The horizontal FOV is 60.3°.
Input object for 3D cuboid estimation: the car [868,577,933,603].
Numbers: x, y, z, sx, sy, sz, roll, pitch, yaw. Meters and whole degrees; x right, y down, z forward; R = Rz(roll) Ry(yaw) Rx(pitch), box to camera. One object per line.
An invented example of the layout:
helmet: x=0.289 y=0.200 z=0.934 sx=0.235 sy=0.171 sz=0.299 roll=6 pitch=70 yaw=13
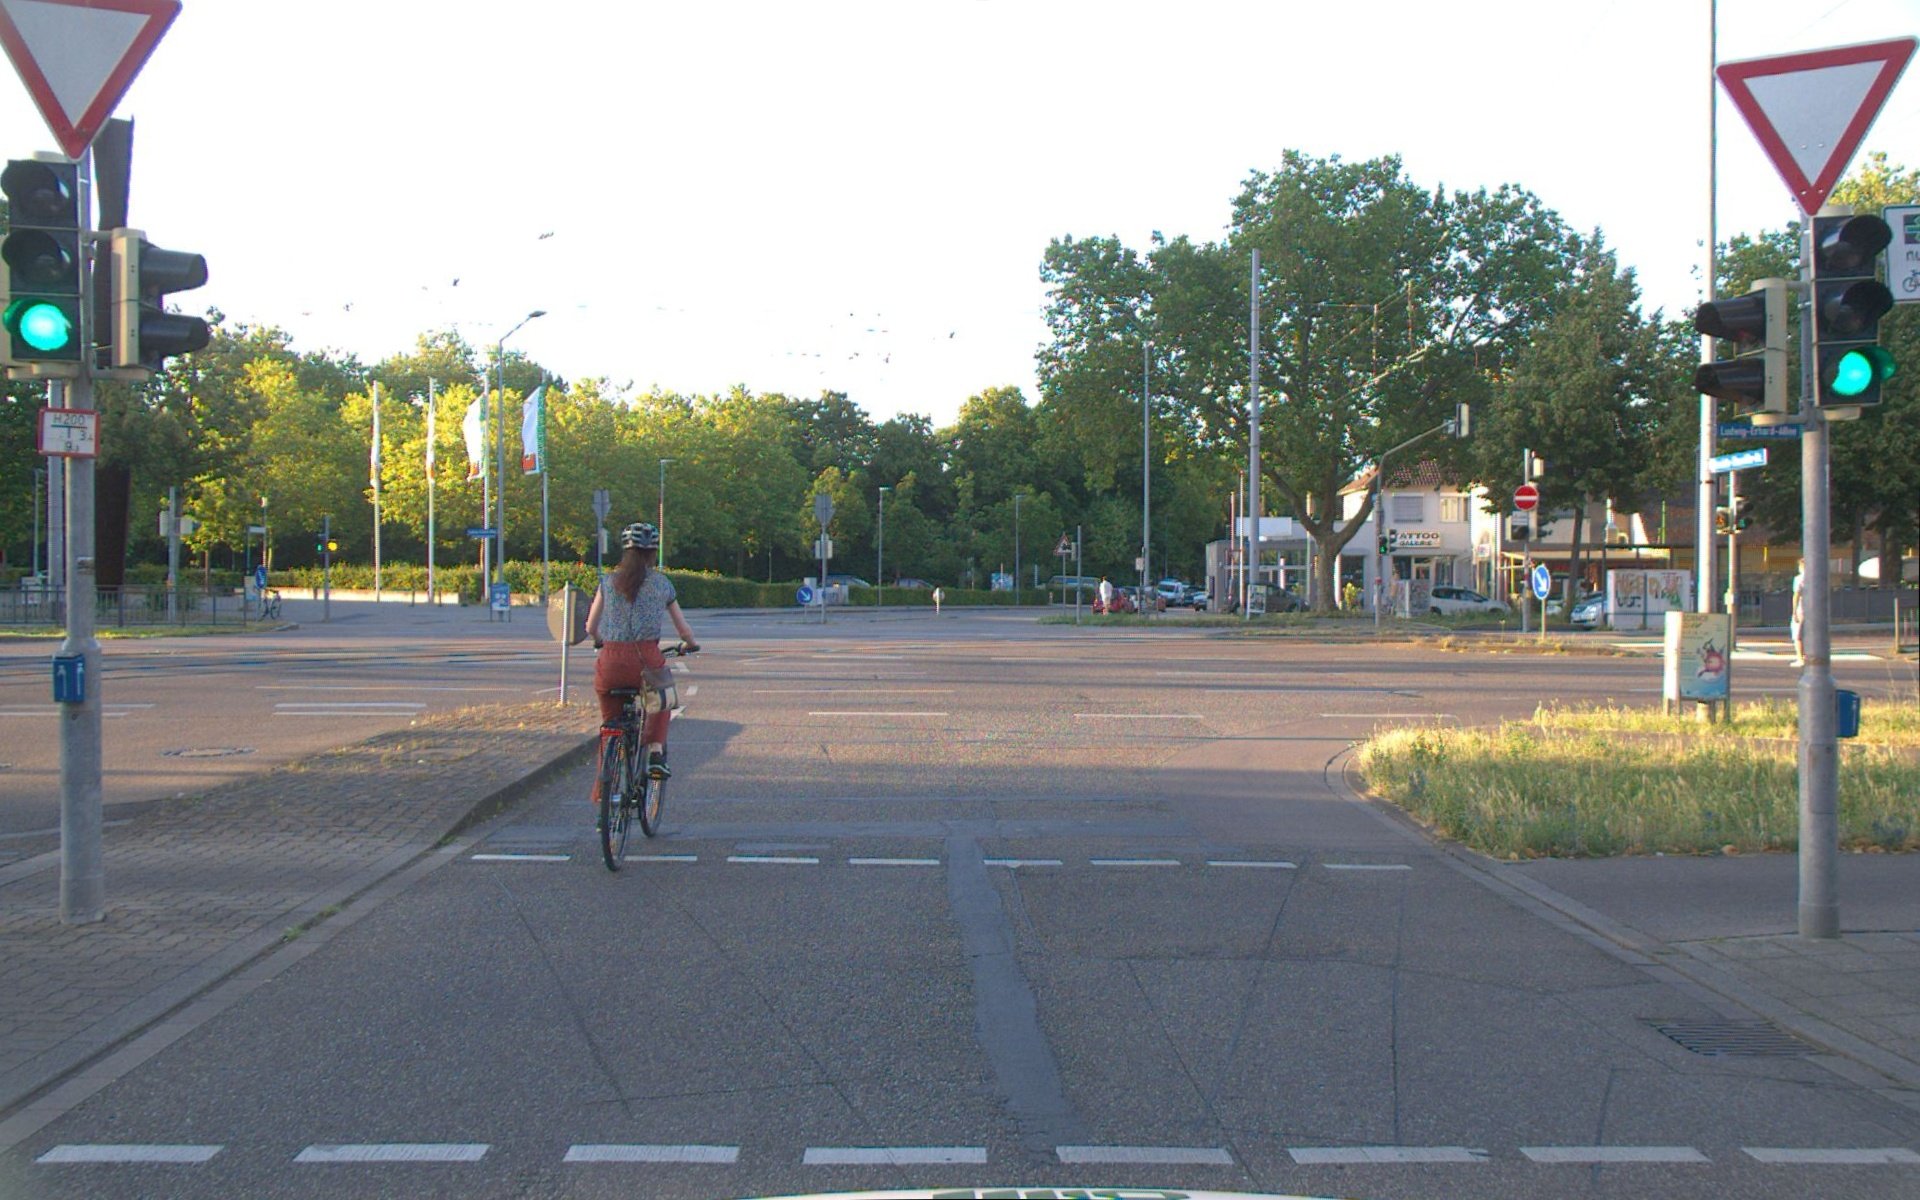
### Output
car: x=-3.672 y=-0.610 z=102.650 sx=3.905 sy=1.588 sz=2.000 roll=0 pitch=1 yaw=0

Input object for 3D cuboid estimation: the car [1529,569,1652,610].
car: x=24.943 y=-0.421 z=65.498 sx=4.142 sy=1.605 sz=2.001 roll=0 pitch=1 yaw=1

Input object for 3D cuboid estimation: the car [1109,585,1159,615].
car: x=9.793 y=-0.008 z=92.873 sx=1.952 sy=1.601 sz=4.002 roll=0 pitch=1 yaw=19

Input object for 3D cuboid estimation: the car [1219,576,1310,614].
car: x=15.152 y=-0.259 z=82.440 sx=4.285 sy=1.867 sz=1.950 roll=0 pitch=1 yaw=4

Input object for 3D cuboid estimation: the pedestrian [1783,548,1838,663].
pedestrian: x=13.800 y=0.075 z=26.831 sx=0.747 sy=1.822 sz=0.801 roll=1 pitch=1 yaw=29

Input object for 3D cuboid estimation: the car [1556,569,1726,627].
car: x=20.755 y=-0.069 z=50.502 sx=4.445 sy=1.758 sz=1.860 roll=0 pitch=0 yaw=-5

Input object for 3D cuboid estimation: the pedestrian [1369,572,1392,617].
pedestrian: x=15.931 y=-0.208 z=62.698 sx=0.704 sy=1.667 sz=0.897 roll=0 pitch=0 yaw=23

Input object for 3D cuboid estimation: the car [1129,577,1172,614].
car: x=11.160 y=-0.294 z=96.716 sx=1.874 sy=2.083 sz=4.003 roll=0 pitch=1 yaw=17

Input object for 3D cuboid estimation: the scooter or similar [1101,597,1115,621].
scooter or similar: x=6.932 y=0.412 z=77.505 sx=0.500 sy=1.109 sz=1.243 roll=0 pitch=0 yaw=-1

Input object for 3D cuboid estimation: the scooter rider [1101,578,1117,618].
scooter rider: x=6.967 y=-0.081 z=77.477 sx=0.688 sy=1.887 sz=0.669 roll=0 pitch=0 yaw=-1

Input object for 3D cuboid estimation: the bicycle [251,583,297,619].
bicycle: x=-23.209 y=0.024 z=55.994 sx=0.685 sy=1.156 sz=2.391 roll=0 pitch=1 yaw=-4

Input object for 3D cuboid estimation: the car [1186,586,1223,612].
car: x=16.102 y=-0.091 z=108.783 sx=1.874 sy=1.630 sz=4.003 roll=0 pitch=1 yaw=17

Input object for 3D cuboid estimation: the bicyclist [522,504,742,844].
bicyclist: x=-1.752 y=0.376 z=9.007 sx=1.011 sy=1.748 sz=0.996 roll=0 pitch=0 yaw=-1

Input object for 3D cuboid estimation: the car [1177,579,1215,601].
car: x=17.462 y=-0.711 z=122.274 sx=1.719 sy=1.568 sz=4.400 roll=0 pitch=-1 yaw=22

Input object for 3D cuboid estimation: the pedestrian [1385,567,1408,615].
pedestrian: x=16.196 y=-0.342 z=61.344 sx=0.704 sy=1.785 sz=0.897 roll=0 pitch=0 yaw=23

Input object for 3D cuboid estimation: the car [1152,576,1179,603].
car: x=15.500 y=-0.799 z=124.665 sx=1.951 sy=2.049 sz=4.003 roll=0 pitch=1 yaw=6

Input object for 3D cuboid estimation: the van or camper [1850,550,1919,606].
van or camper: x=43.547 y=-0.957 z=73.767 sx=6.426 sy=2.452 sz=2.265 roll=0 pitch=0 yaw=3

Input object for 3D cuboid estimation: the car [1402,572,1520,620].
car: x=19.981 y=-0.162 z=66.041 sx=4.142 sy=1.878 sz=2.001 roll=0 pitch=0 yaw=1

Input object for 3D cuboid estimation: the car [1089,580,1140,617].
car: x=8.318 y=-0.113 z=89.026 sx=1.829 sy=1.907 sz=3.875 roll=0 pitch=1 yaw=20

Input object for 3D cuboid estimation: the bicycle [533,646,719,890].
bicycle: x=-1.760 y=0.838 z=9.010 sx=0.621 sy=1.086 sz=2.122 roll=0 pitch=1 yaw=-1
